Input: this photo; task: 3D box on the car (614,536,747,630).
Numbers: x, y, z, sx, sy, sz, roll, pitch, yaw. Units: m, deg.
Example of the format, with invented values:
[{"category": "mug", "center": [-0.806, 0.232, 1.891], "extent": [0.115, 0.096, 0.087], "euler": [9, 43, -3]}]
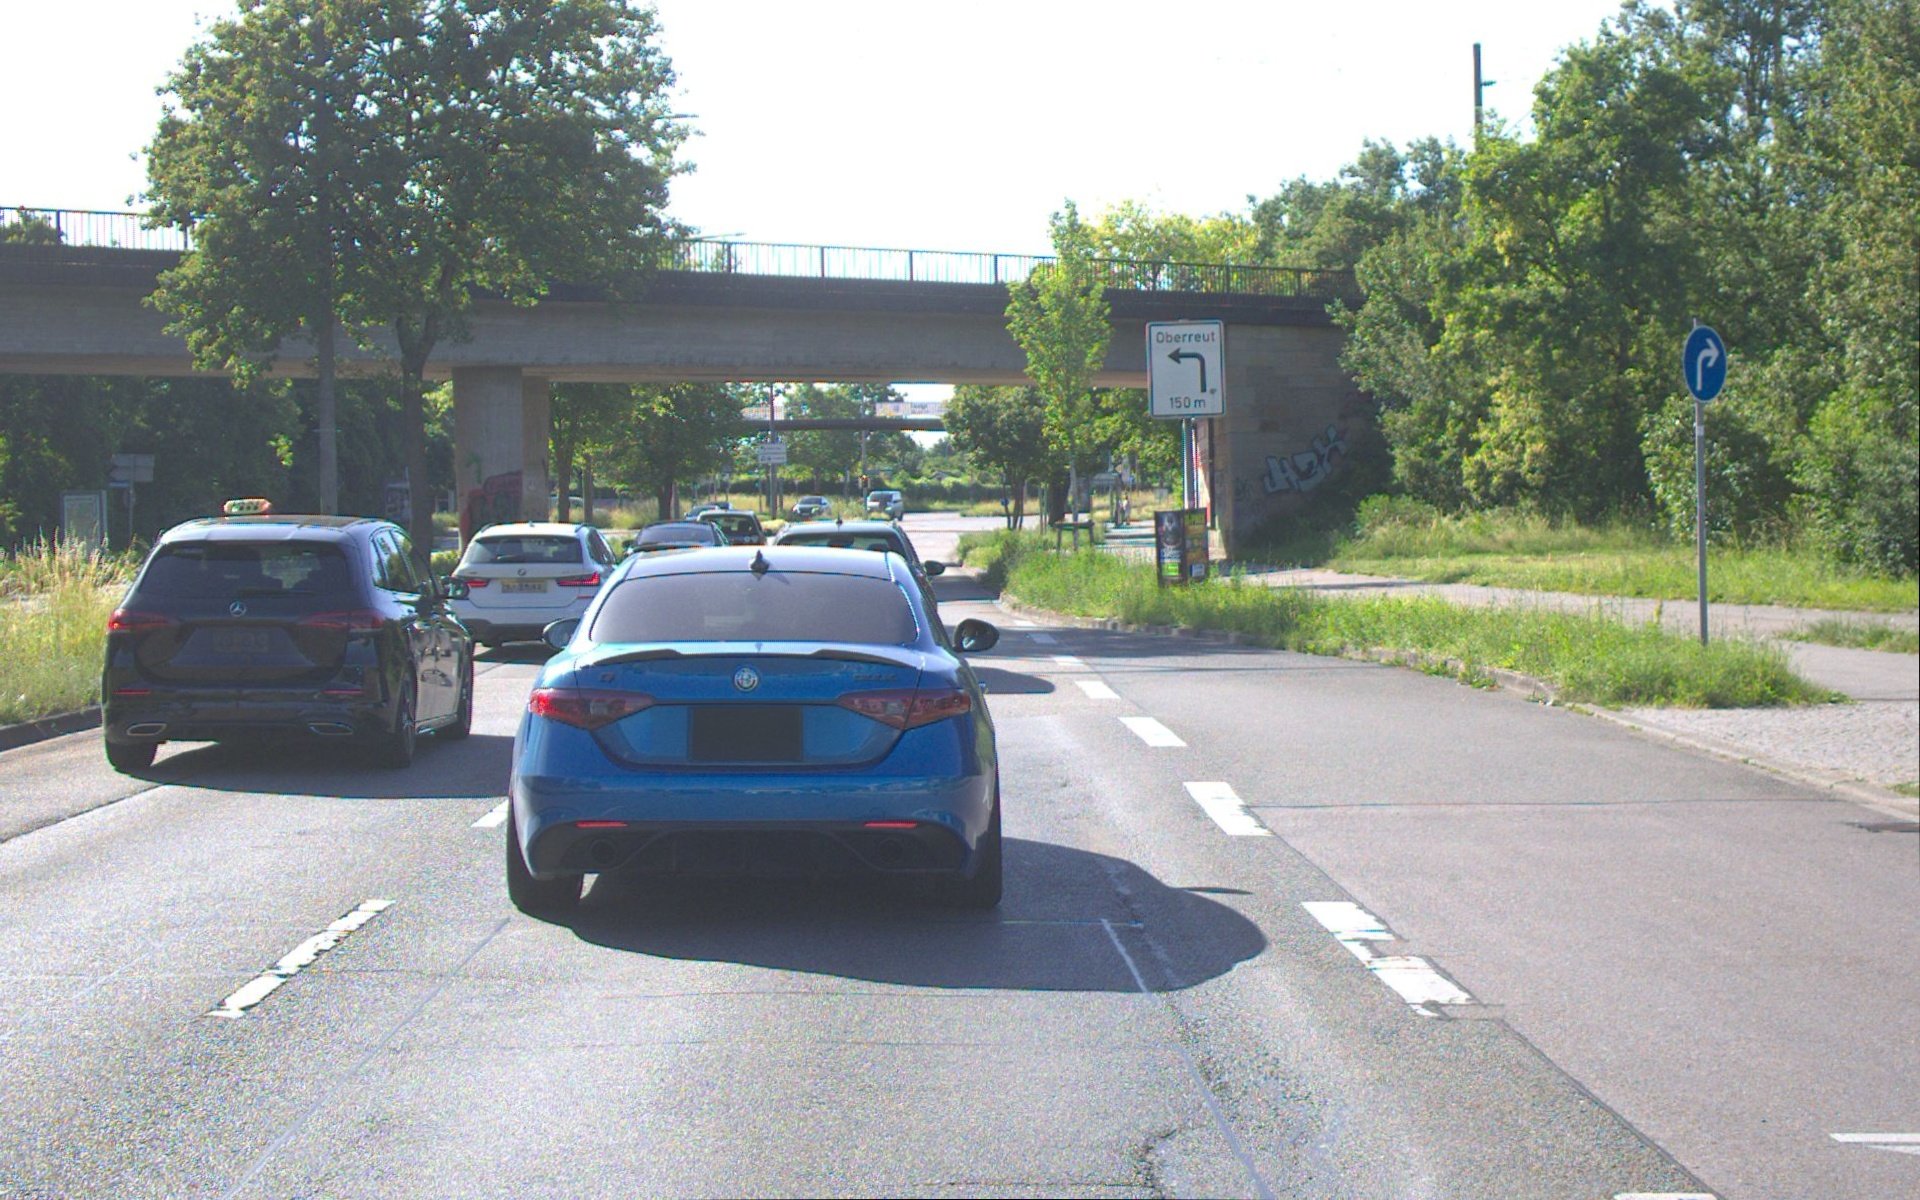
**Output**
[{"category": "car", "center": [-4.548, -0.316, 56.417], "extent": [1.883, 1.449, 4.527], "euler": [0, 1, -1]}]

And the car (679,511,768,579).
[{"category": "car", "center": [-5.263, -1.245, 76.936], "extent": [1.779, 1.449, 4.182], "euler": [-1, 2, -1]}]

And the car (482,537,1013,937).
[{"category": "car", "center": [-0.796, 0.452, 14.379], "extent": [1.883, 1.401, 4.224], "euler": [0, 1, -1]}]

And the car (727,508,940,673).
[{"category": "car", "center": [-1.167, -0.136, 32.864], "extent": [1.883, 1.449, 4.527], "euler": [0, 1, -1]}]

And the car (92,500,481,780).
[{"category": "car", "center": [-4.155, 0.185, 21.817], "extent": [1.708, 1.592, 4.224], "euler": [0, 1, -1]}]

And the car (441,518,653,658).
[{"category": "car", "center": [-4.519, -0.175, 38.173], "extent": [1.883, 1.449, 4.527], "euler": [0, 1, -1]}]
